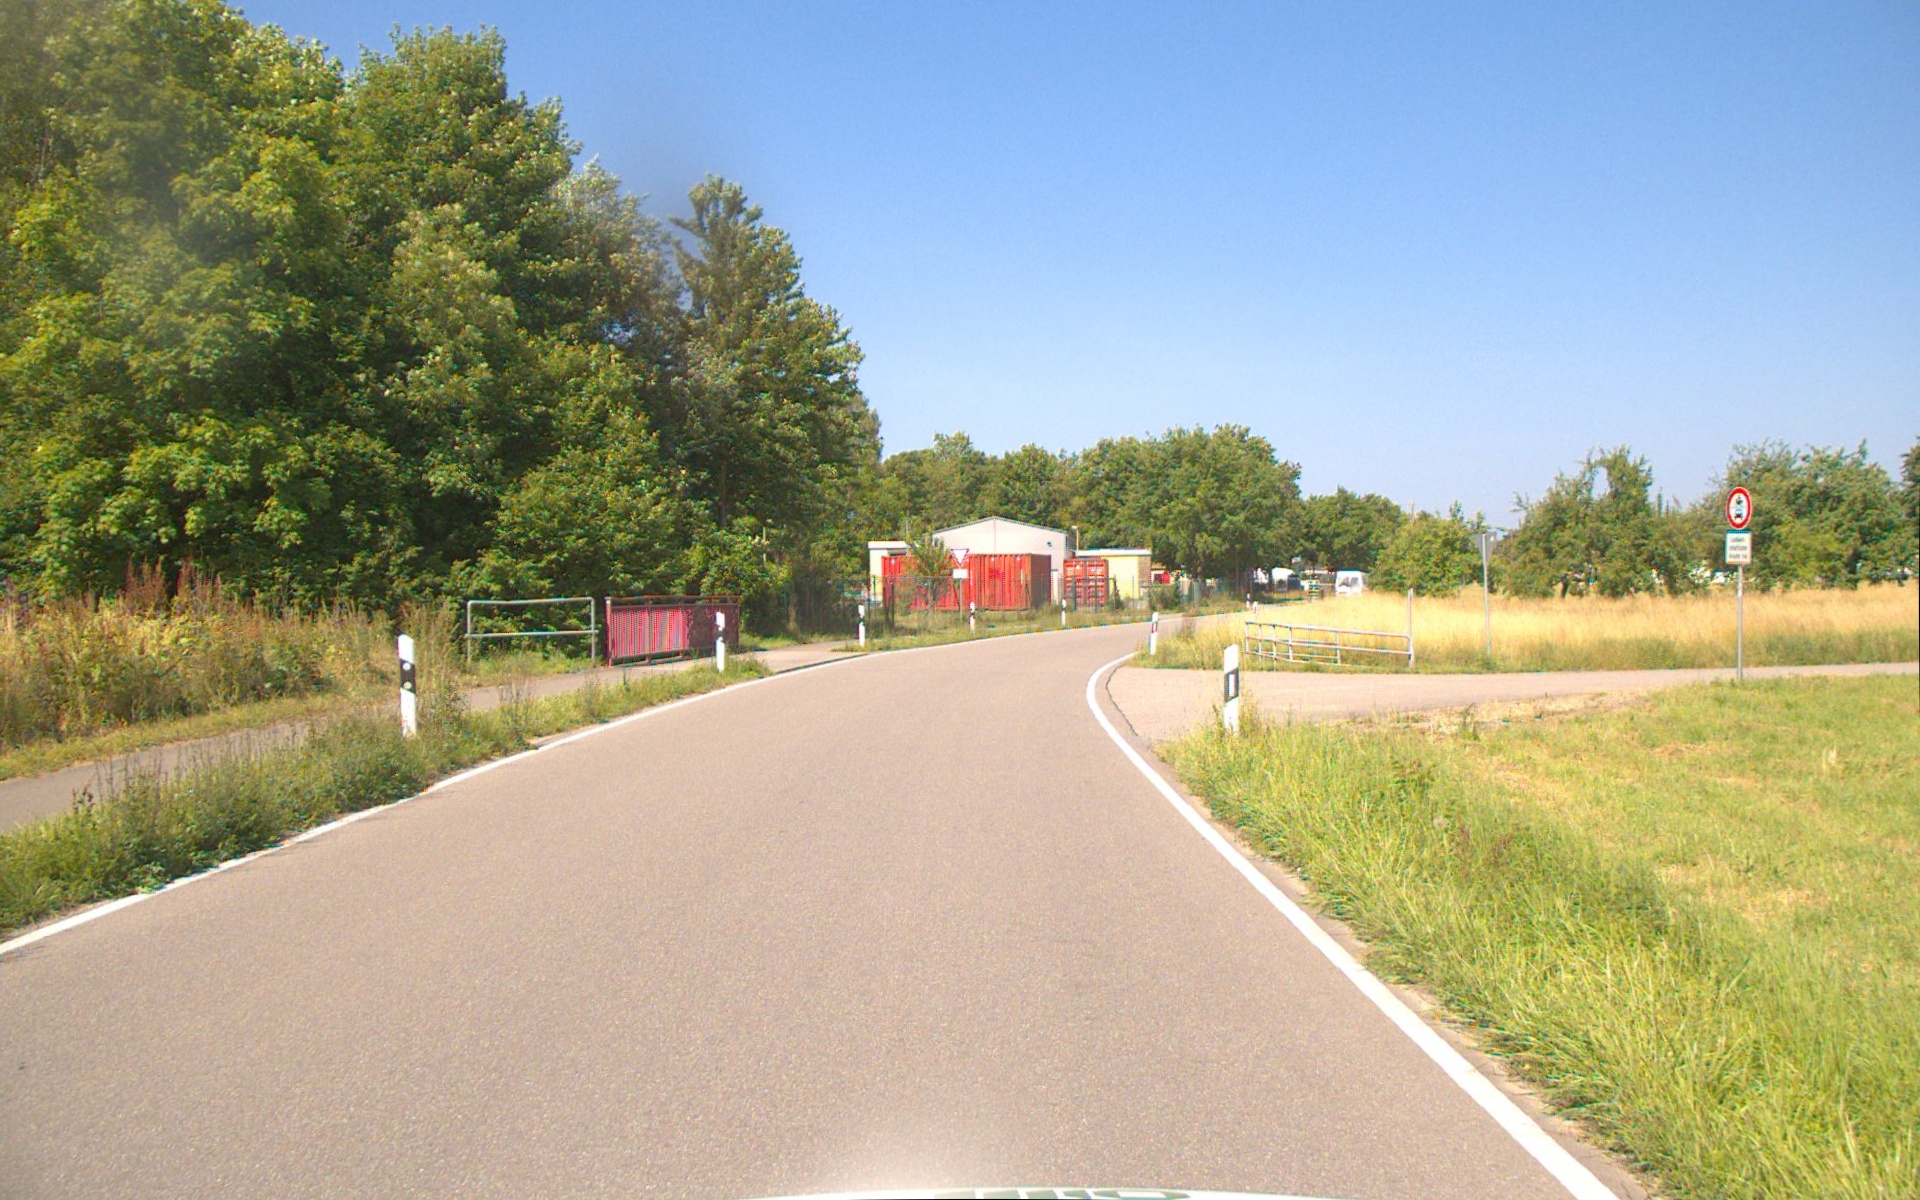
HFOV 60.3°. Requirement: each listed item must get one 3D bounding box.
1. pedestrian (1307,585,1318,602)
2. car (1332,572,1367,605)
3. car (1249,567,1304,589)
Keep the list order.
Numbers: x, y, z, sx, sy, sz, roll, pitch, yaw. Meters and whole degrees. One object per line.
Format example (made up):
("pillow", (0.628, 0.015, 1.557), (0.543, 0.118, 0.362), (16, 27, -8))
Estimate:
("pedestrian", (33.144, -0.613, 155.555), (0.667, 1.593, 0.714), (-1, 0, 42))
("car", (28.510, -0.872, 121.017), (1.952, 2.305, 4.727), (-1, 0, 20))
("car", (34.303, -2.397, 179.293), (5.510, 2.305, 1.989), (-1, 0, -19))
